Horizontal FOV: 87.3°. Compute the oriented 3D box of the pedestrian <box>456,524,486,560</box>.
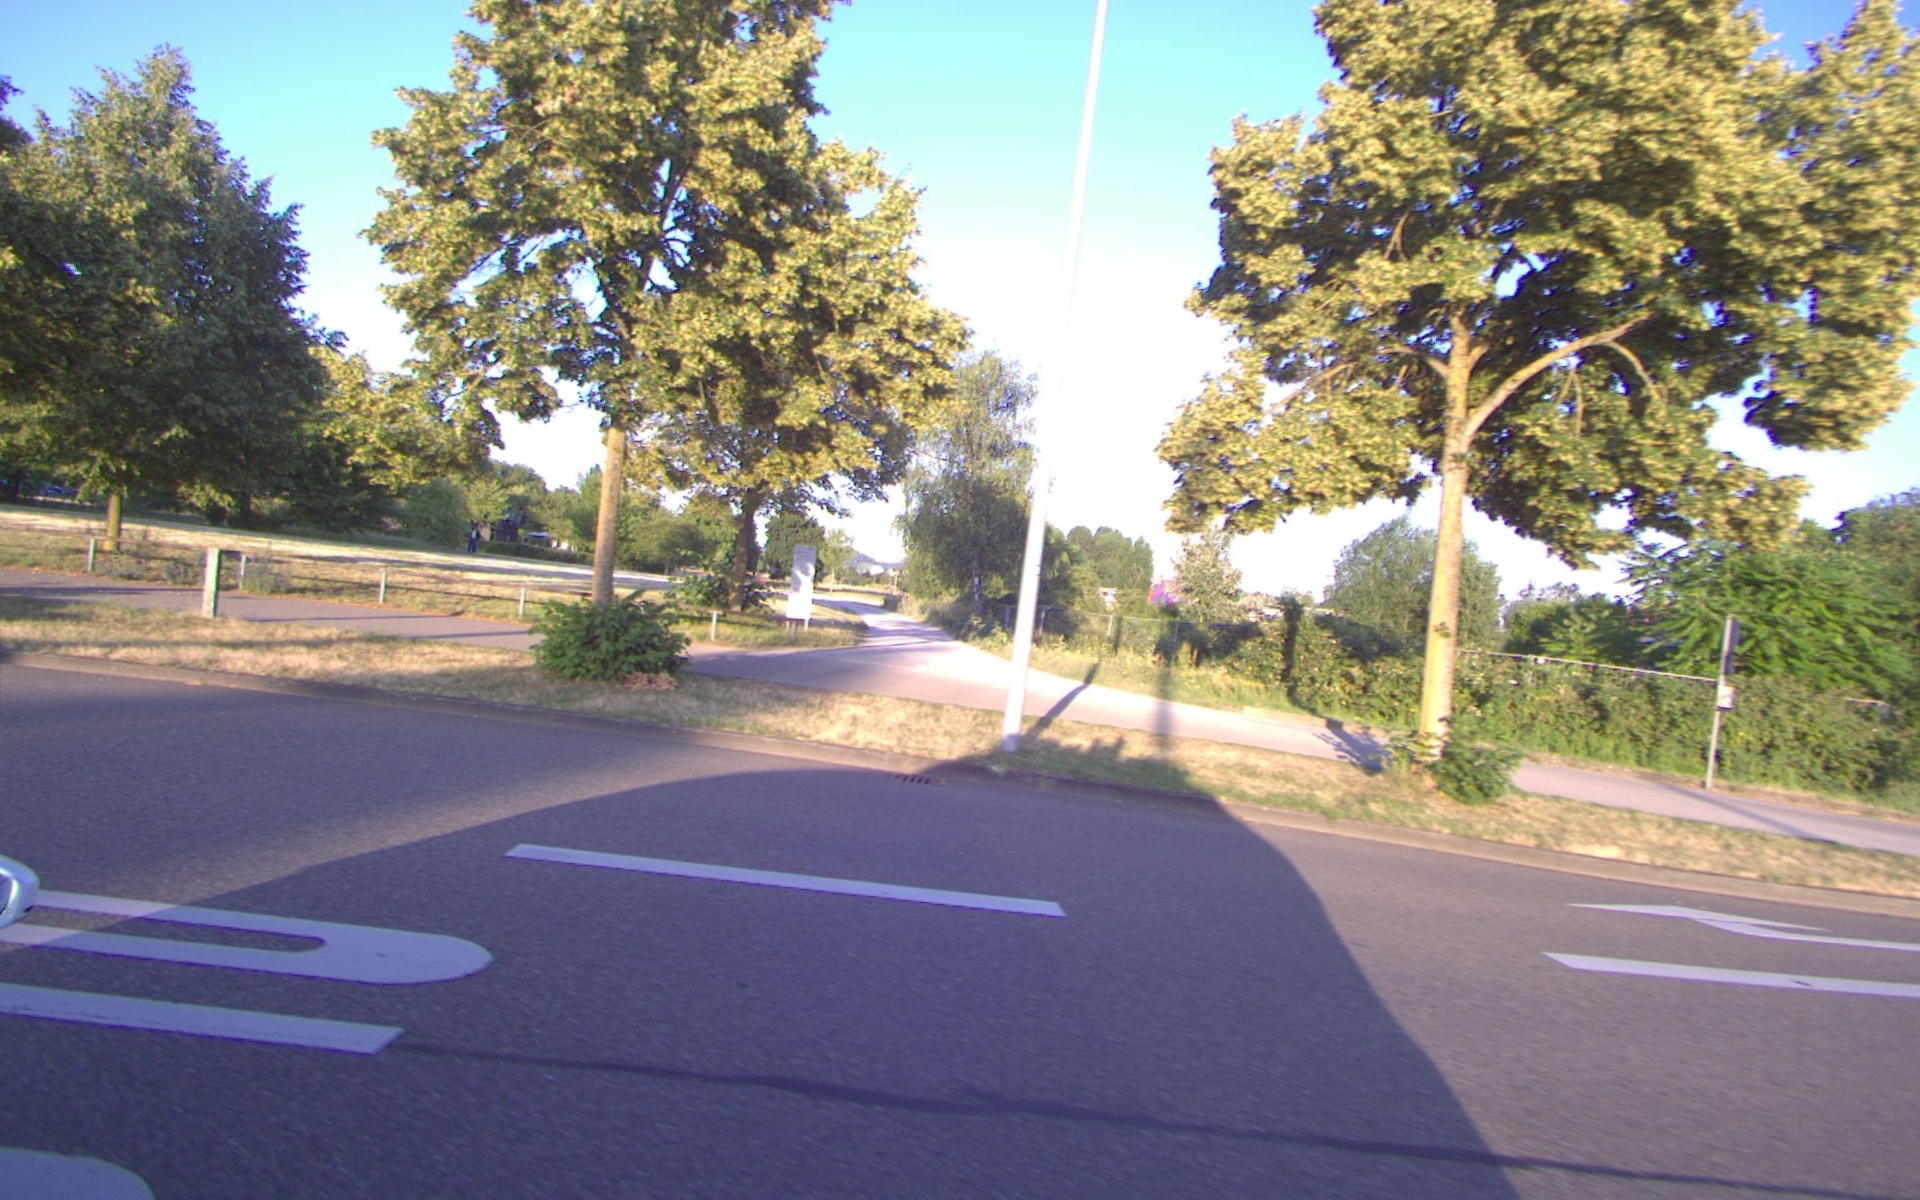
[{"bbox_3d":[-28.406,-3.350,58.459,0.894,1.887,1.105,7,1,11],"label":"pedestrian"}]
